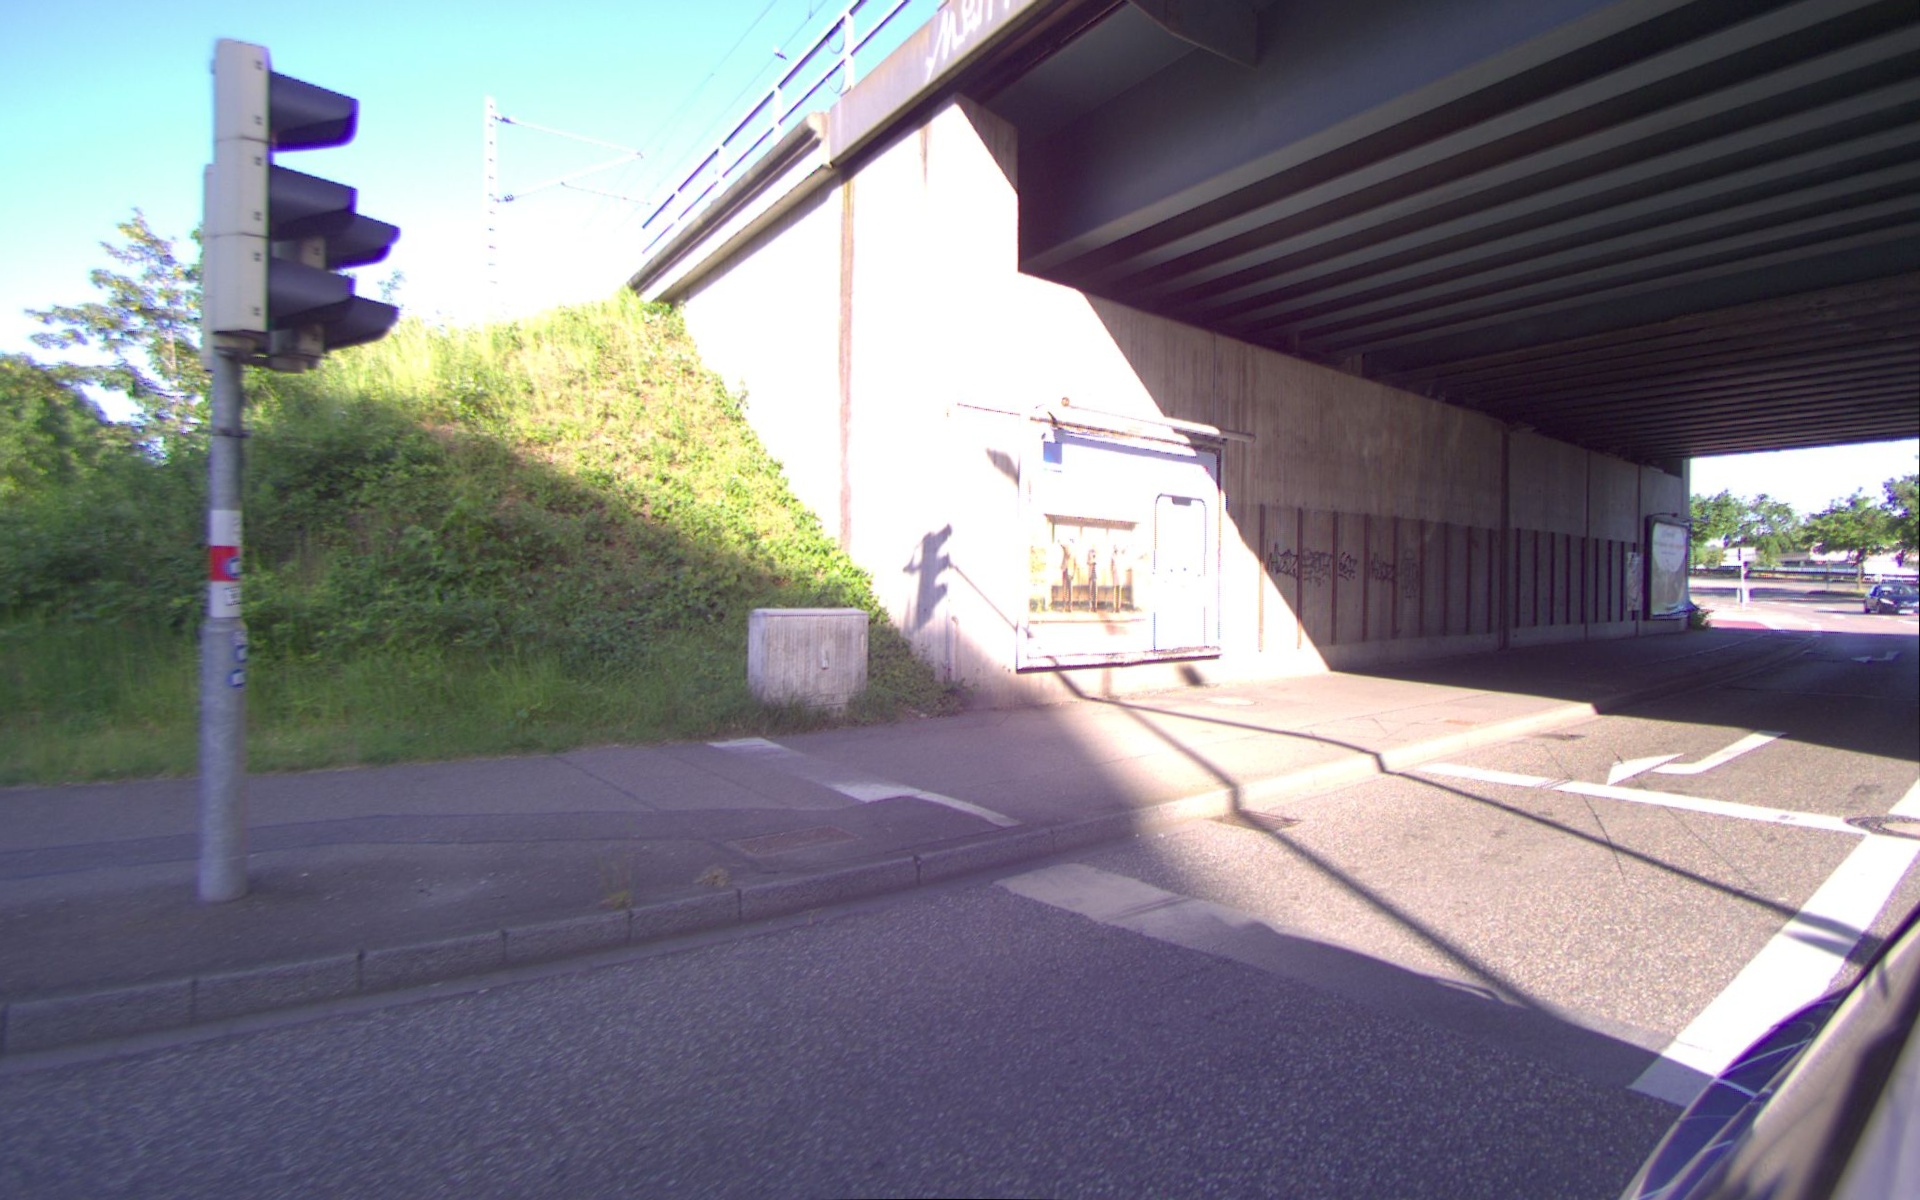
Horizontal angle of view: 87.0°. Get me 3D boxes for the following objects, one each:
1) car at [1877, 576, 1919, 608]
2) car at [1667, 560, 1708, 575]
[{"bbox_3d":[46.572,-0.386,49.472,1.835,1.501,3.938,1,0,31],"label":"car"},{"bbox_3d":[81.194,-3.654,112.967,1.798,1.607,4.177,0,1,5],"label":"car"}]
